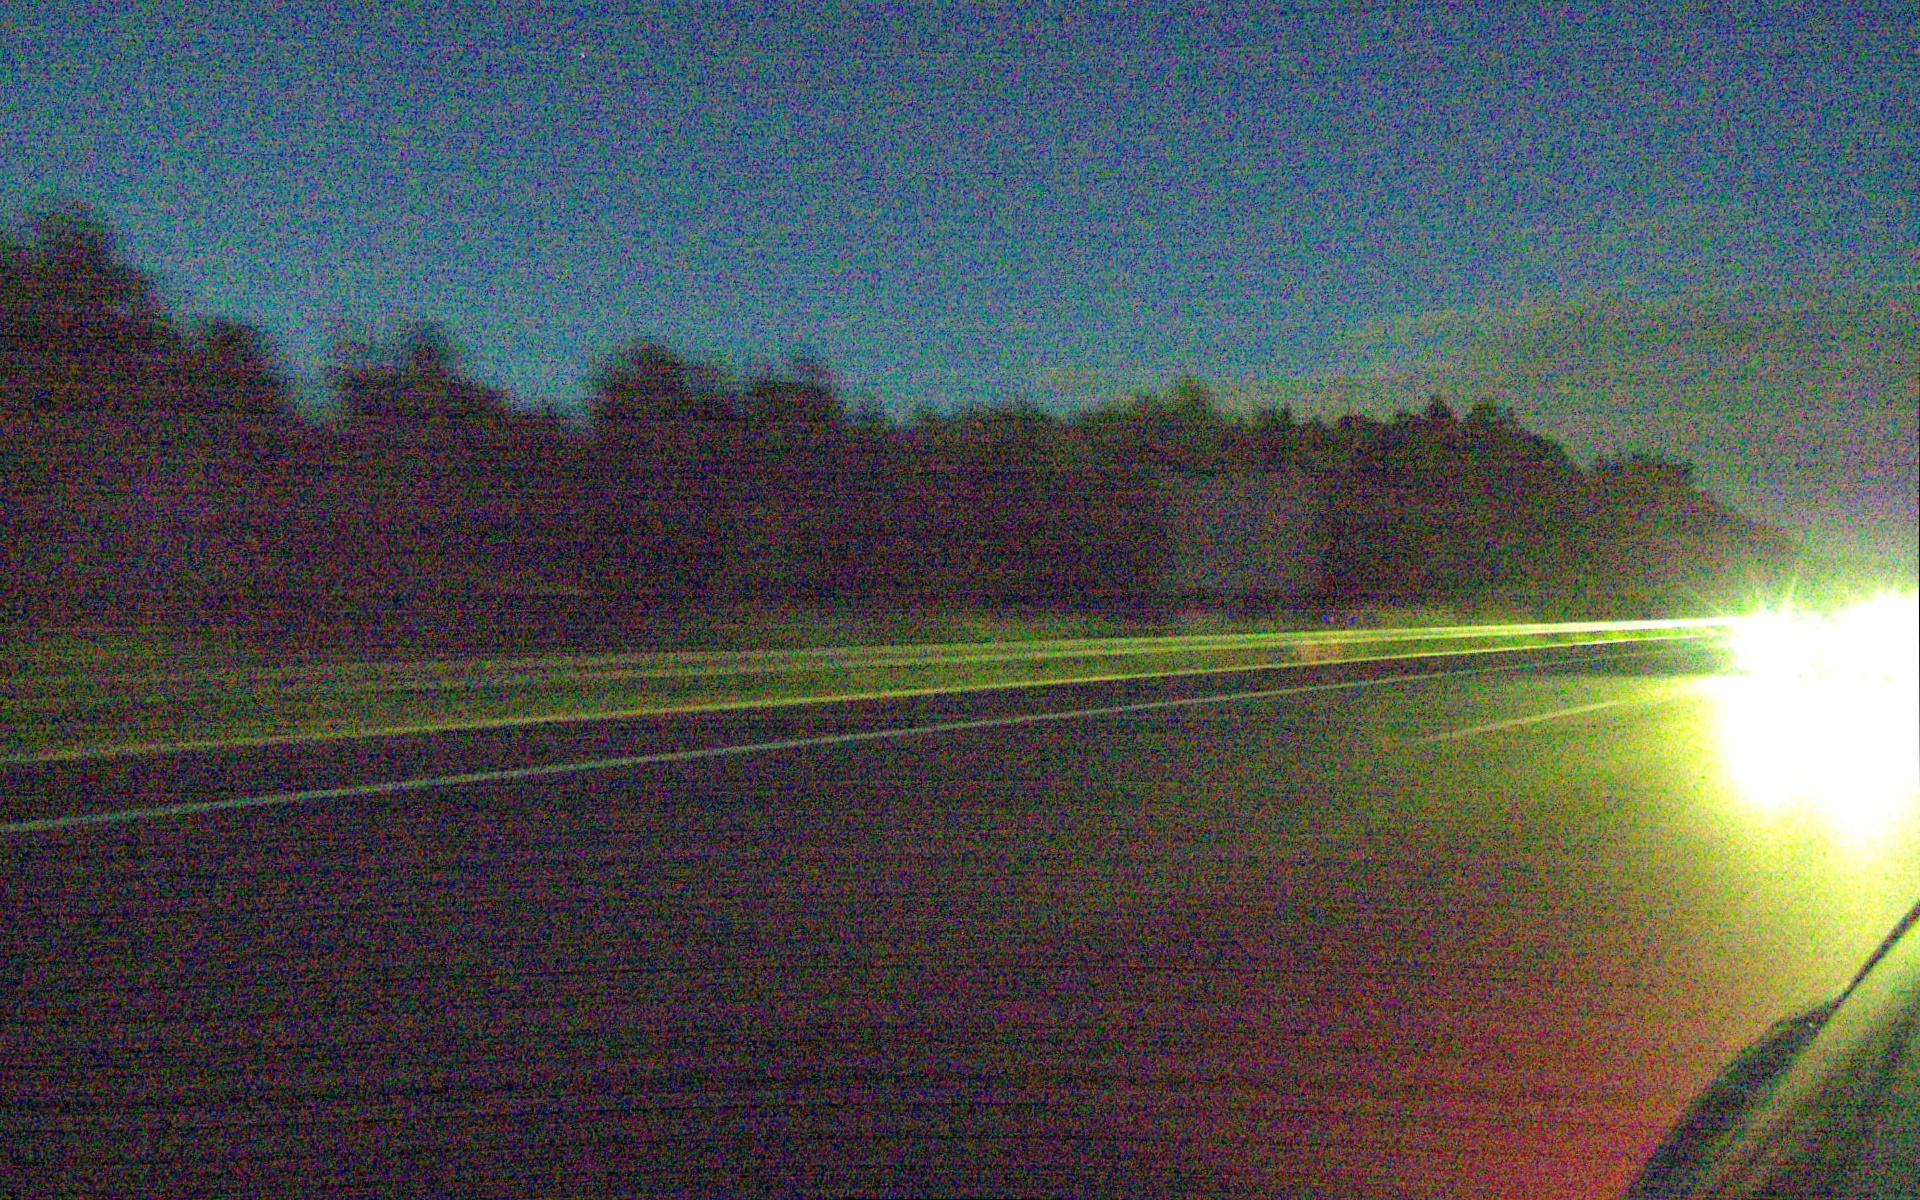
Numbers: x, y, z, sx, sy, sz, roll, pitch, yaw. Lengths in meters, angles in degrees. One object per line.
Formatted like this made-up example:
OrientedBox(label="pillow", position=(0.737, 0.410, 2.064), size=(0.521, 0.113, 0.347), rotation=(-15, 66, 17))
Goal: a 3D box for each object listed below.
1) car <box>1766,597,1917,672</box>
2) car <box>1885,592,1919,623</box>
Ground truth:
OrientedBox(label="car", position=(18.636, 0.672, 21.310), size=(4.982, 1.419, 1.837), rotation=(1, -1, -42))
OrientedBox(label="car", position=(55.442, 0.434, 58.812), size=(5.078, 1.740, 1.996), rotation=(1, -1, -42))
